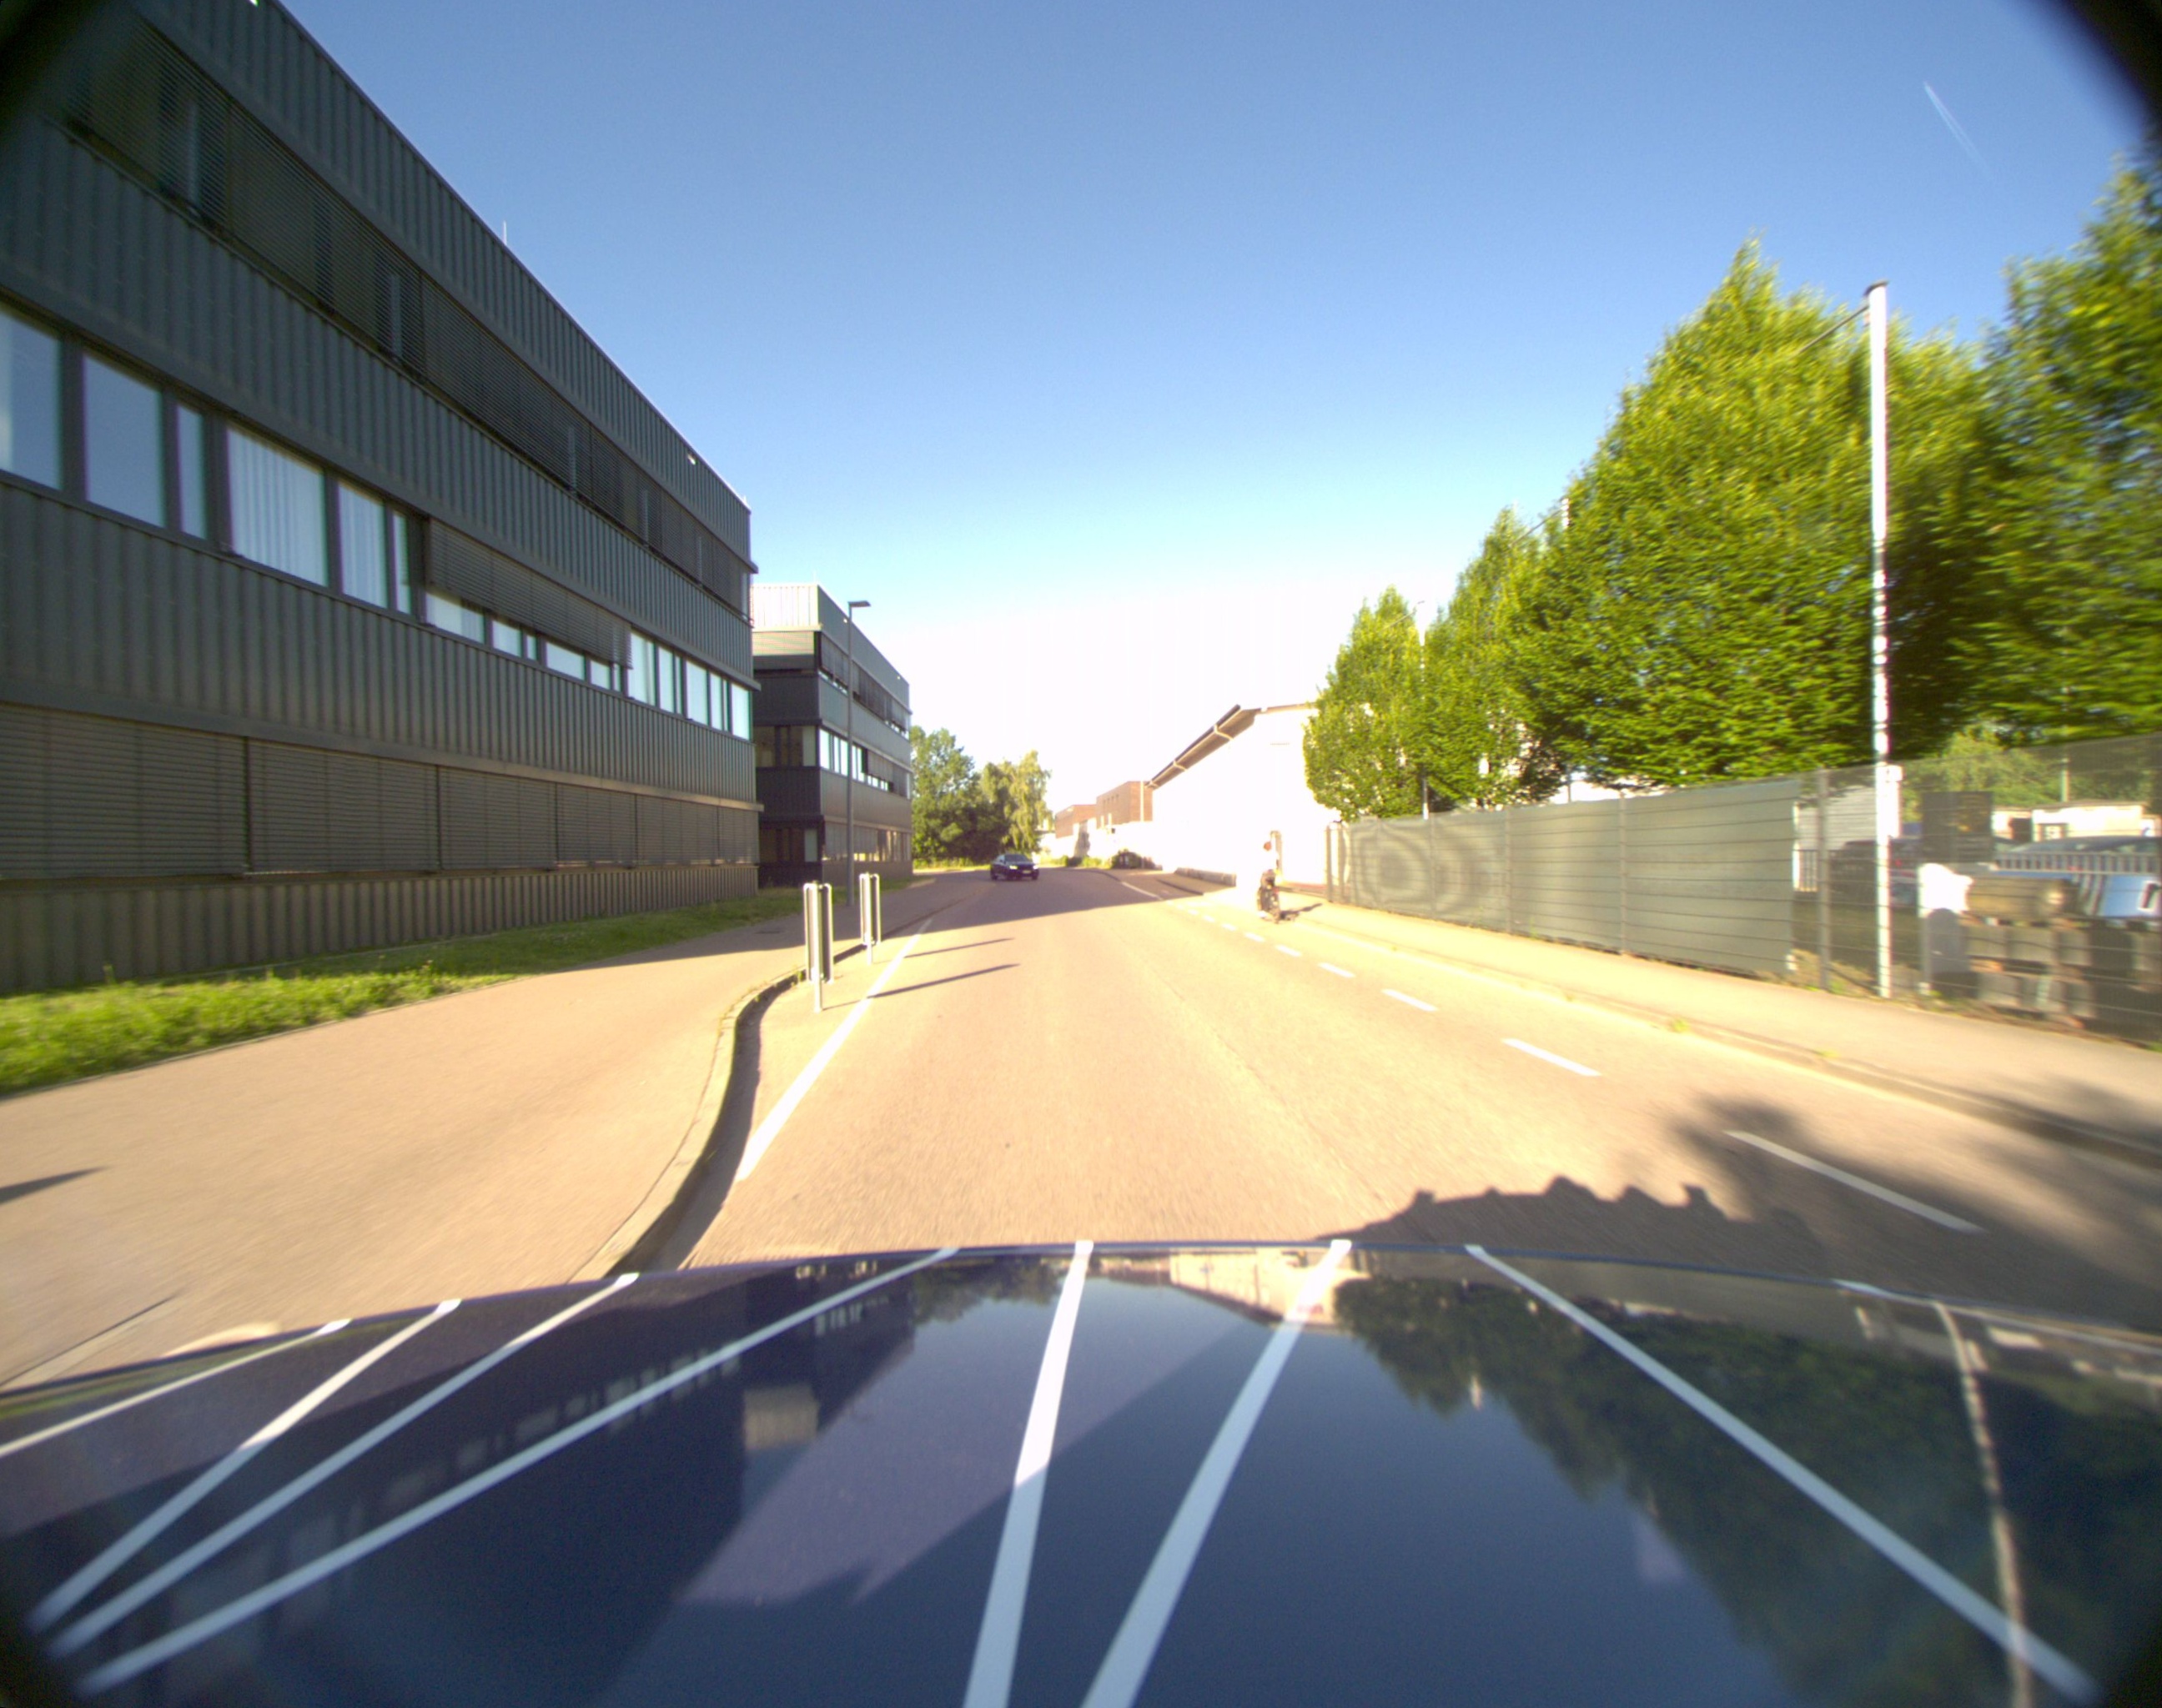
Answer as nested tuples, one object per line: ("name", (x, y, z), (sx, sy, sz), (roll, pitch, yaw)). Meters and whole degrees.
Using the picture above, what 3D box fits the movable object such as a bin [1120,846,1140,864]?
("movable object such as a bin", (4.125, 0.055, 63.883), (1.365, 1.463, 1.287), (-1, 1, -13))

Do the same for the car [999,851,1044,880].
("car", (-3.819, 0.687, 48.017), (2.039, 1.623, 4.606), (-1, 1, -14))

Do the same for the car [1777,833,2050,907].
("car", (18.242, 0.327, 16.805), (3.997, 1.531, 1.875), (0, 1, -1))

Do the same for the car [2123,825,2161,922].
("car", (18.961, 0.315, 11.436), (3.997, 1.531, 1.875), (0, 1, -1))

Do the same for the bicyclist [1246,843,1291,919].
("bicyclist", (4.087, 0.575, 16.615), (0.748, 1.619, 0.833), (-1, 1, -3))

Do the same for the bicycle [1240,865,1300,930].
("bicycle", (4.106, 0.904, 16.648), (0.669, 1.281, 2.171), (-1, 1, -3))

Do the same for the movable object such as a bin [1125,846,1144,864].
("movable object such as a bin", (4.432, 0.064, 62.534), (1.203, 1.463, 1.371), (-1, 1, -13))
